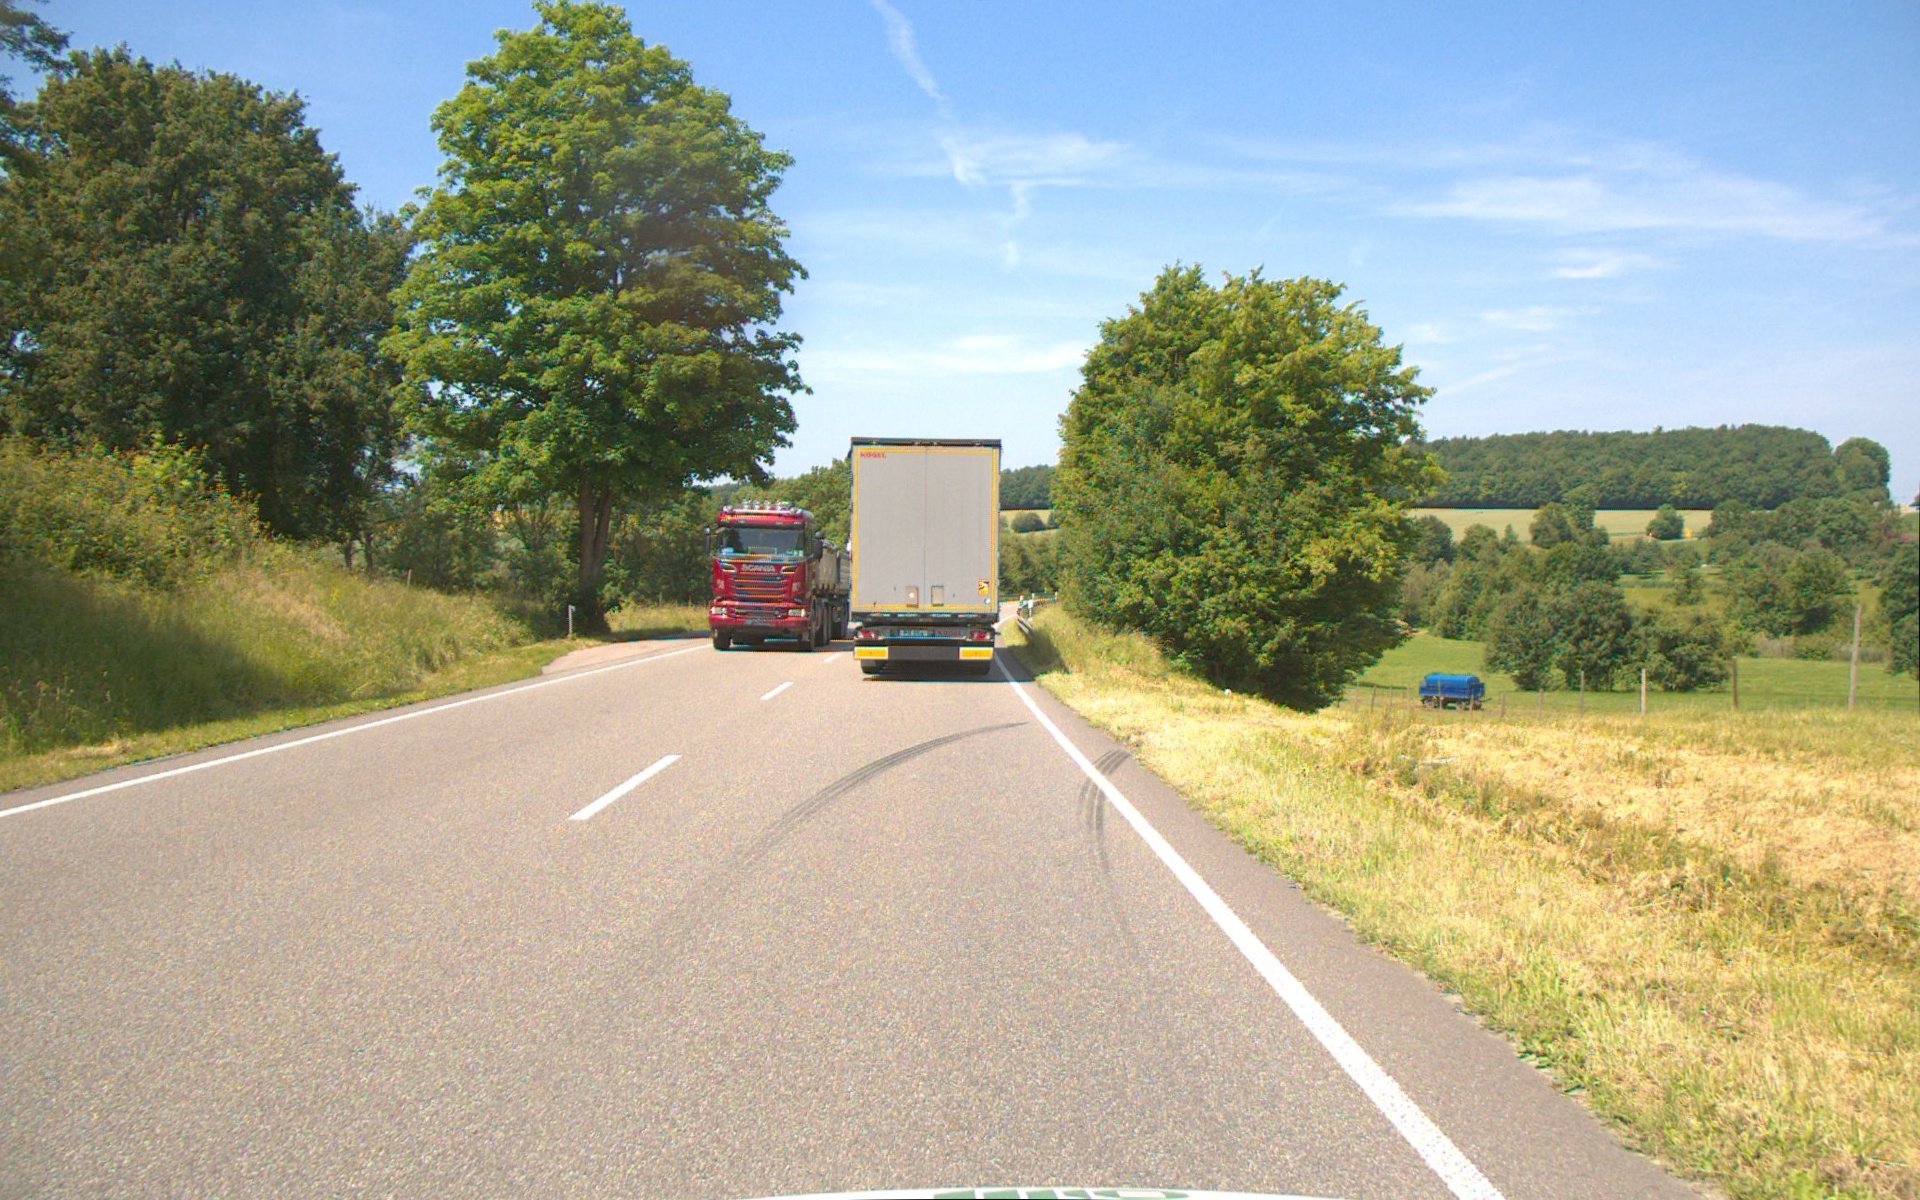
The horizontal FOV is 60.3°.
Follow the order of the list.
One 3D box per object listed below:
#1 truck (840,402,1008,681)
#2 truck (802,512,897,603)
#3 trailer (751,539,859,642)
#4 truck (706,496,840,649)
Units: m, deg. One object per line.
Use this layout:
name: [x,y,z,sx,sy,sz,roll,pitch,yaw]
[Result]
truck: [-0.771,-1.024,33.309,2.760,4.611,11.764,0,0,-2]
truck: [-5.265,-2.003,82.334,2.506,4.008,16.169,2,1,4]
trailer: [-4.619,-0.267,50.616,2.589,2.923,7.077,0,0,0]
truck: [-4.734,-0.665,43.227,2.478,3.622,7.762,0,0,1]
